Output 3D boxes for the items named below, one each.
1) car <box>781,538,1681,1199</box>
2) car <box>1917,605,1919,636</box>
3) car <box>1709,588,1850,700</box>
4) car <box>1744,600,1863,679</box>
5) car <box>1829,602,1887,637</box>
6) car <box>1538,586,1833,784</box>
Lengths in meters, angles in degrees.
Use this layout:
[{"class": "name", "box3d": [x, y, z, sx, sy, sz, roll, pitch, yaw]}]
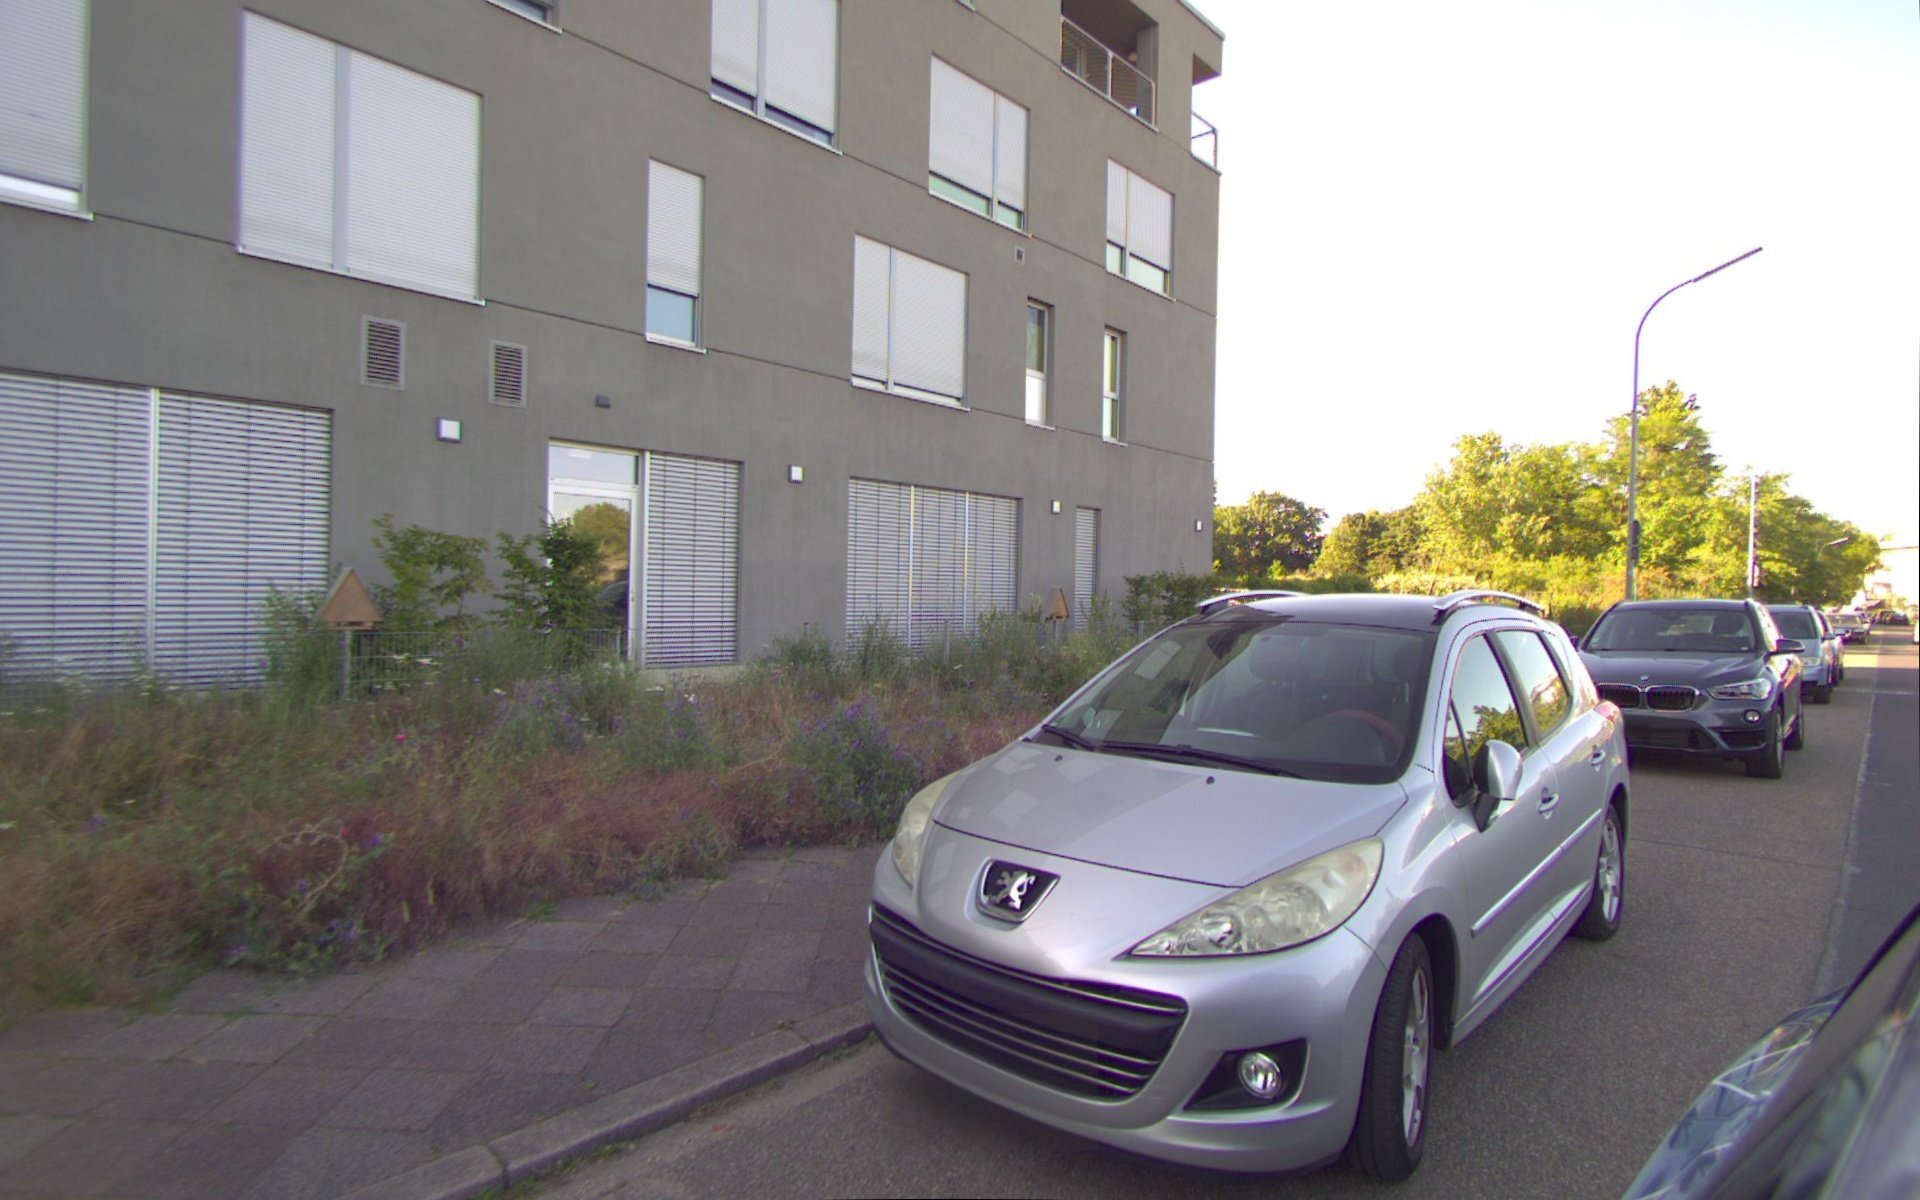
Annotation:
[{"class": "car", "box3d": [1.463, 0.673, 4.038, 1.706, 1.546, 4.089, -2, -1, 44]}, {"class": "car", "box3d": [46.564, 1.009, 47.716, 1.672, 1.467, 3.945, 2, 1, 38]}, {"class": "car", "box3d": [14.555, 0.705, 17.889, 1.705, 1.727, 4.284, -2, -1, 42]}, {"class": "car", "box3d": [17.920, 0.792, 21.468, 1.706, 1.546, 3.044, -2, -1, 44]}, {"class": "car", "box3d": [41.671, 0.865, 46.952, 1.869, 1.545, 4.089, 1, 0, 44]}, {"class": "car", "box3d": [7.632, 0.697, 10.433, 1.745, 1.587, 4.725, -1, -1, 45]}]
